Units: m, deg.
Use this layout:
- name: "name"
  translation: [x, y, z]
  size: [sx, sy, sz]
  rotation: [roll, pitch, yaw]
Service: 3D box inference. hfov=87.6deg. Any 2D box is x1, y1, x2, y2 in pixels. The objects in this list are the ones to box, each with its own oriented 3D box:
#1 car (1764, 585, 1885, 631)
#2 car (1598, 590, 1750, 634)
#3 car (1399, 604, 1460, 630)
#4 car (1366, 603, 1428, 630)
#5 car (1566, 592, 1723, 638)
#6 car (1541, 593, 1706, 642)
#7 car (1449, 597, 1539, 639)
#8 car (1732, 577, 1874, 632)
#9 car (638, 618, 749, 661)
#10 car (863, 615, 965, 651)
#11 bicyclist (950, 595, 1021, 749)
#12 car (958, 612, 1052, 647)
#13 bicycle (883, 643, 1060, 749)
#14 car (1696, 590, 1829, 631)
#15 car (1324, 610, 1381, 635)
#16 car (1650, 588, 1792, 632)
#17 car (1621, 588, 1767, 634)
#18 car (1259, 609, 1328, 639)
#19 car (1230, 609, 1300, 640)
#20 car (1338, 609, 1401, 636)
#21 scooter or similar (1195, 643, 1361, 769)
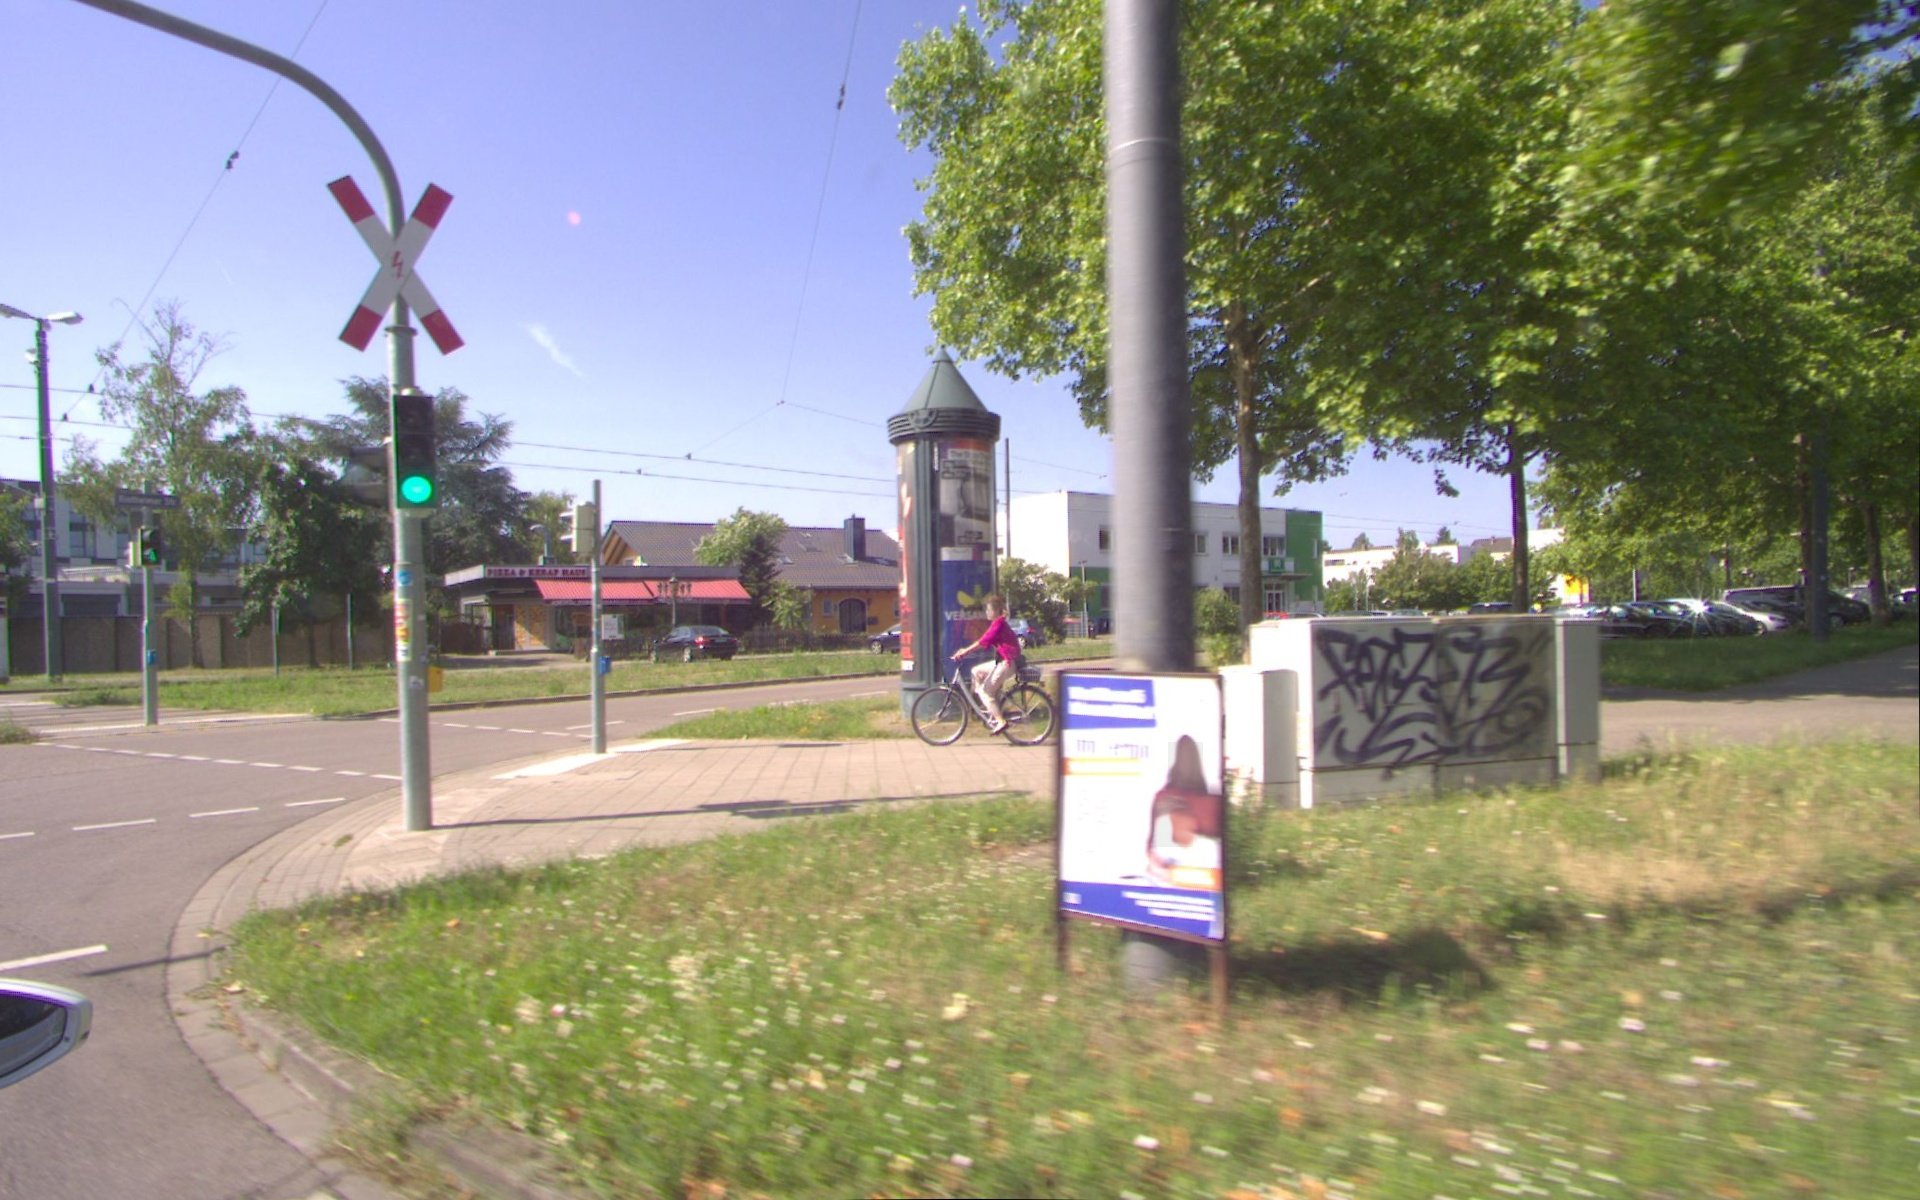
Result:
- name: "car"
  translation: [43.779, 0.426, 50.762]
  size: [4.543, 2.238, 1.981]
  rotation: [-2, -1, 44]
- name: "car"
  translation: [26.249, 0.469, 36.878]
  size: [4.310, 1.510, 1.982]
  rotation: [-2, -1, 44]
- name: "car"
  translation: [33.784, 1.245, 72.198]
  size: [3.935, 1.816, 1.995]
  rotation: [-1, -2, 25]
- name: "car"
  translation: [30.791, 1.209, 70.642]
  size: [3.935, 1.816, 1.995]
  rotation: [-1, -2, 25]
- name: "car"
  translation: [24.063, 0.553, 35.285]
  size: [4.310, 1.510, 1.982]
  rotation: [-2, -1, 44]
- name: "car"
  translation: [22.111, 0.599, 33.460]
  size: [4.311, 1.510, 1.982]
  rotation: [-3, -1, 44]
- name: "car"
  translation: [21.988, 0.759, 41.201]
  size: [3.952, 1.676, 1.781]
  rotation: [1, -2, -37]
- name: "car"
  translation: [37.500, 0.224, 44.638]
  size: [1.978, 2.319, 4.552]
  rotation: [-1, -1, -40]
- name: "car"
  translation: [-10.560, 1.588, 39.426]
  size: [2.120, 1.517, 5.075]
  rotation: [-1, -2, -42]
- name: "car"
  translation: [-2.102, 1.498, 45.652]
  size: [4.140, 1.518, 2.136]
  rotation: [-2, -2, 26]
- name: "bicyclist"
  translation: [0.323, 0.864, 12.194]
  size: [0.794, 1.810, 0.702]
  rotation: [-1, 0, 5]
- name: "car"
  translation: [2.223, 1.472, 49.423]
  size: [4.139, 1.640, 2.135]
  rotation: [-2, -1, 26]
- name: "bicycle"
  translation: [0.158, 1.158, 12.211]
  size: [2.084, 1.201, 0.693]
  rotation: [-1, 0, 5]
- name: "car"
  translation: [34.740, 0.488, 43.408]
  size: [4.310, 1.654, 1.981]
  rotation: [-2, -1, 44]
- name: "car"
  translation: [26.006, 1.486, 66.489]
  size: [3.384, 1.556, 1.565]
  rotation: [-1, 0, 18]
- name: "car"
  translation: [30.269, 0.424, 39.920]
  size: [4.310, 1.654, 1.981]
  rotation: [-2, -1, 44]
- name: "car"
  translation: [28.227, 0.464, 38.577]
  size: [4.310, 1.654, 1.982]
  rotation: [-2, -2, 44]
- name: "car"
  translation: [21.057, 1.514, 63.196]
  size: [3.935, 1.816, 1.995]
  rotation: [-1, -2, 25]
- name: "car"
  translation: [18.792, 1.527, 61.725]
  size: [3.935, 1.816, 1.995]
  rotation: [-1, -2, 25]
- name: "car"
  translation: [28.257, 1.580, 69.088]
  size: [3.935, 1.816, 1.995]
  rotation: [-1, -2, 25]
- name: "scooter or similar"
  translation: [3.075, 1.023, 9.773]
  size: [1.418, 1.156, 0.517]
  rotation: [-2, -2, 5]
